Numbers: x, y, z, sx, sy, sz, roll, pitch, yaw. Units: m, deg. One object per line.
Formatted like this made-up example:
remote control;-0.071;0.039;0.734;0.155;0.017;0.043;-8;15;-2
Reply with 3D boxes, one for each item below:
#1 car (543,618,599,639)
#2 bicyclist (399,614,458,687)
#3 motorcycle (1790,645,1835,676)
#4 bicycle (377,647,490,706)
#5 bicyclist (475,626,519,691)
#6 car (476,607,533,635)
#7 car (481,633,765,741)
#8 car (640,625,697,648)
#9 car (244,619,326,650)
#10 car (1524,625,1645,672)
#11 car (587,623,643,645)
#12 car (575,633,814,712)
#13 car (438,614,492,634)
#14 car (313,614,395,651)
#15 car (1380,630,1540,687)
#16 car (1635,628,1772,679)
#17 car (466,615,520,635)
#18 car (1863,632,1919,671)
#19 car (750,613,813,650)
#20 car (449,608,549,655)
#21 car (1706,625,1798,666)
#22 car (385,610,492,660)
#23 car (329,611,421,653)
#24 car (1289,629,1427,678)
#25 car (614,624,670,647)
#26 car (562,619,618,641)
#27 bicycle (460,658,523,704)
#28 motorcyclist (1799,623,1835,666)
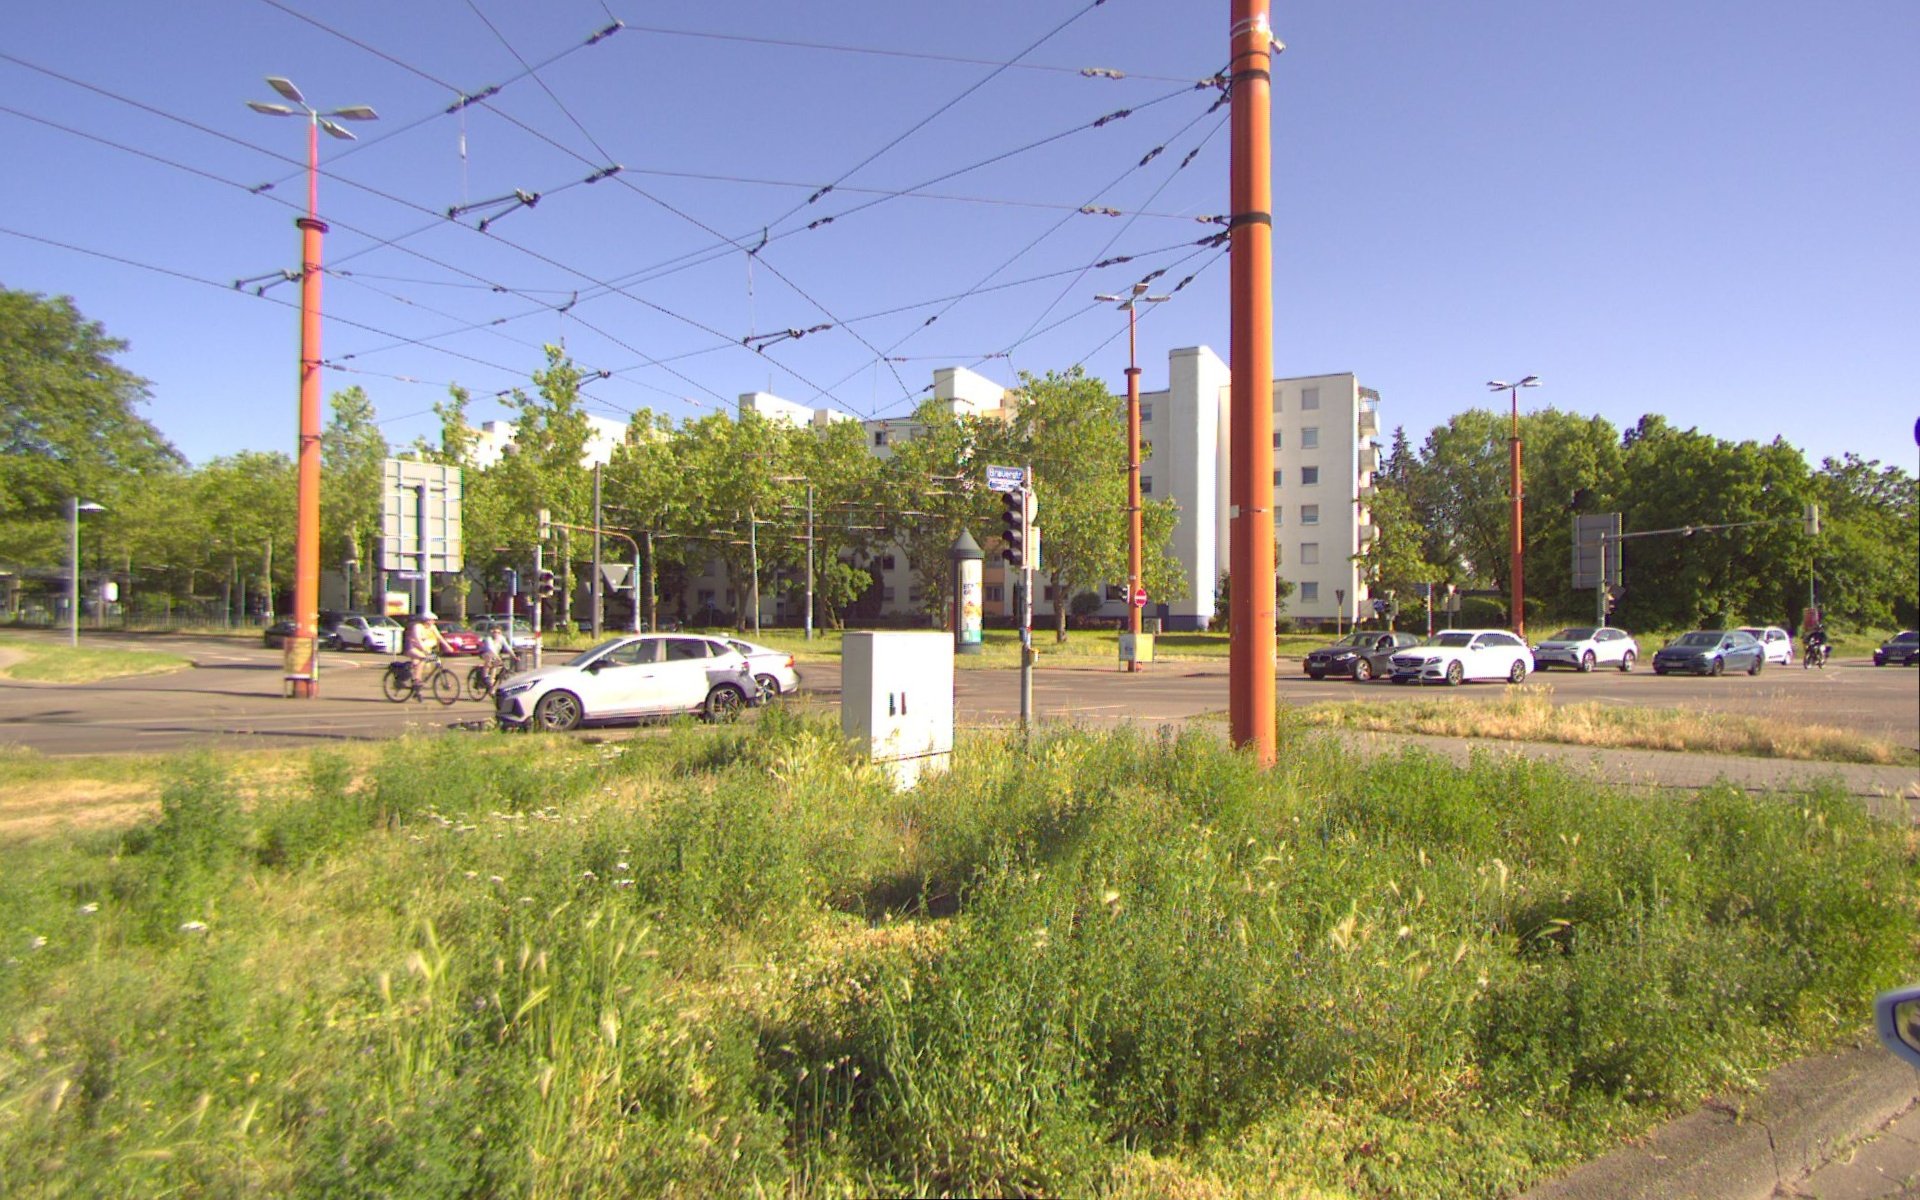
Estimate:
car;-31.206;2.304;80.680;3.935;1.617;1.889;1;0;-17
bicyclist;-10.917;1.013;20.655;0.742;1.449;0.752;1;0;15
motorcycle;32.772;2.310;38.610;2.065;1.146;0.420;2;0;-24
bicycle;-10.797;1.560;20.593;2.313;1.095;0.474;1;0;15
bicyclist;-9.993;1.246;21.666;0.688;1.340;0.547;1;0;31
car;-34.774;1.589;76.642;4.333;2.040;1.994;0;-1;34
car;-5.396;1.318;16.195;4.131;1.492;1.582;0;-2;-29
car;-21.371;2.675;73.736;3.935;1.617;1.889;1;0;-17
car;-32.547;1.648;48.432;3.928;1.339;1.733;1;-1;30
car;22.716;1.745;36.519;4.383;1.622;1.831;2;-2;-28
car;-26.400;2.593;77.060;3.935;1.617;1.889;1;0;-17
car;-5.372;1.426;20.411;4.346;1.392;1.985;2;-1;-29
car;-43.661;2.098;88.611;3.935;1.617;1.889;1;0;-17
car;-30.982;1.631;51.378;3.928;1.773;1.909;1;0;30
car;13.654;1.568;27.364;4.589;1.441;1.695;1;-2;-31
car;24.646;1.740;33.276;4.408;1.615;1.986;1;-2;-28
car;-40.248;2.157;86.715;3.935;1.617;1.889;1;0;-17
car;40.195;2.158;42.415;4.553;1.505;1.866;2;-1;-32
car;-11.874;2.070;66.754;3.935;2.341;1.889;1;0;-17
car;-20.589;1.373;44.845;4.198;1.926;1.996;1;0;30
car;34.561;1.963;43.805;4.012;1.730;1.792;2;-2;-30
car;-21.775;1.426;41.929;4.198;1.926;1.996;1;0;30
car;-26.546;1.426;45.576;3.928;1.773;1.909;1;0;30
car;11.971;1.581;30.168;3.985;1.359;1.852;2;-2;-31
car;-23.904;2.637;75.656;3.935;1.617;1.889;1;0;-17
car;-29.089;2.337;79.085;3.935;1.617;1.889;1;0;-17
bicycle;-10.115;1.740;21.685;1.597;0.894;0.367;1;0;30
motorcyclist;33.009;1.714;38.684;0.631;1.621;0.833;1;0;-23
